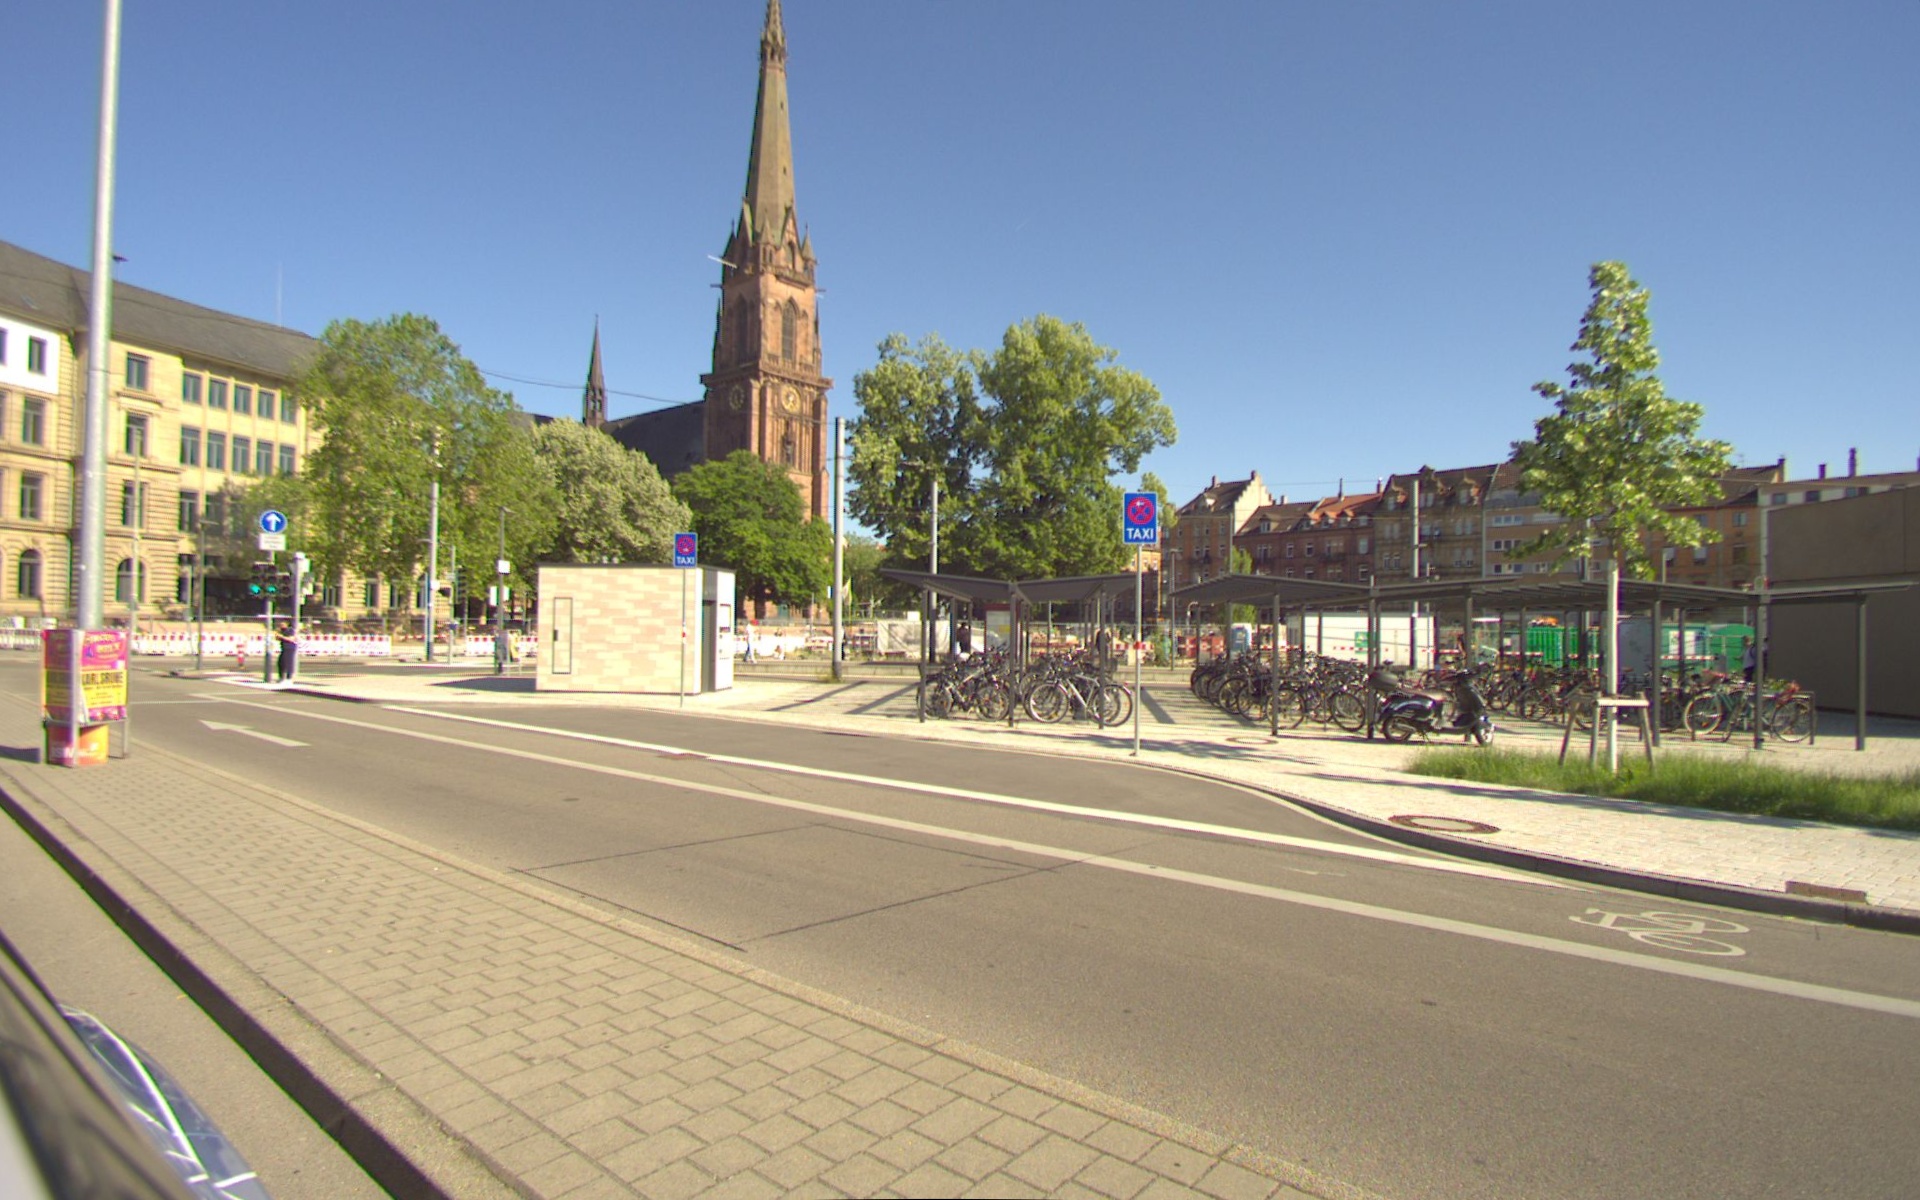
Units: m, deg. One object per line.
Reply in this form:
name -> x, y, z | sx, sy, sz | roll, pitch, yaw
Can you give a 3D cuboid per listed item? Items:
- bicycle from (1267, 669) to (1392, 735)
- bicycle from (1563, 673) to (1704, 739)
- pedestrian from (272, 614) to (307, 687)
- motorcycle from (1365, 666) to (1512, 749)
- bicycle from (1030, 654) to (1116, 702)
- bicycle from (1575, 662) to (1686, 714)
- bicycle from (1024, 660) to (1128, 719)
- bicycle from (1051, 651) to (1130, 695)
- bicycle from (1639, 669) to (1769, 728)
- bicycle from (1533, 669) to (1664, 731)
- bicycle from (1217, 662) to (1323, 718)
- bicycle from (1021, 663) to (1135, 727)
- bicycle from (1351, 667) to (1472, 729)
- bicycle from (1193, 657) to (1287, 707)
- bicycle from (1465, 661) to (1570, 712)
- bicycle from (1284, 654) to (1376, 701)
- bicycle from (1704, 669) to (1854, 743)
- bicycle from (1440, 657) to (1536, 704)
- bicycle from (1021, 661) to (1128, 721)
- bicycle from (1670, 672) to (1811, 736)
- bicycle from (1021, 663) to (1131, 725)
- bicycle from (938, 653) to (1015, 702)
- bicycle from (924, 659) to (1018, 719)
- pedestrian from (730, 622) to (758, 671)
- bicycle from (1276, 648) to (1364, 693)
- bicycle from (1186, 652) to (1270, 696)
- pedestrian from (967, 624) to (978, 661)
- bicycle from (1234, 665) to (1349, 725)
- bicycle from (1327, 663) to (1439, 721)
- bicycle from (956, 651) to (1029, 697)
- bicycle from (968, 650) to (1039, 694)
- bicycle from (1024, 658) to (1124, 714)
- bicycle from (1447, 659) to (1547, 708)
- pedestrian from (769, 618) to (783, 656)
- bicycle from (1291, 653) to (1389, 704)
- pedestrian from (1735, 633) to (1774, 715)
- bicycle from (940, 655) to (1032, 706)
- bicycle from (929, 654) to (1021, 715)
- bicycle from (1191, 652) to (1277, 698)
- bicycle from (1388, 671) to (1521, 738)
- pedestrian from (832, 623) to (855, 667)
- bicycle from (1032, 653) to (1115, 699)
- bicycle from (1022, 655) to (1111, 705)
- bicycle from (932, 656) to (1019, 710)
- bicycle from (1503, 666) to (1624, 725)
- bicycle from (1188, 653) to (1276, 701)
bicycle -> 6.125, 1.682, 16.837 | 1.882, 1.016, 0.456 | 0, -2, 8
bicycle -> 10.976, 1.718, 16.534 | 1.882, 1.016, 0.456 | 0, -2, 8
pedestrian -> -17.601, 1.322, 26.556 | 0.683, 1.868, 0.680 | 2, -2, -37
motorcycle -> 7.165, 1.602, 15.222 | 1.924, 1.160, 0.516 | 0, -2, 6
bicycle -> 2.515, 1.726, 22.531 | 1.882, 1.016, 0.456 | 0, -2, 8
bicycle -> 13.877, 1.819, 20.968 | 1.882, 1.016, 0.456 | 0, -2, 8
bicycle -> 2.140, 1.645, 18.740 | 1.882, 1.016, 0.456 | 0, -2, 8
bicycle -> 3.166, 1.776, 24.596 | 1.882, 1.016, 0.456 | 0, -2, 8
bicycle -> 13.473, 1.777, 18.361 | 1.882, 1.016, 0.456 | 0, -2, 8
bicycle -> 11.104, 1.733, 17.638 | 1.882, 1.016, 0.456 | 0, -2, 8
bicycle -> 5.901, 1.708, 19.320 | 1.882, 1.016, 0.456 | 0, -2, 8
bicycle -> 1.993, 1.602, 17.111 | 1.882, 1.016, 0.456 | 0, -2, 8
bicycle -> 7.898, 1.709, 17.760 | 1.882, 1.016, 0.456 | 0, -2, 8
bicycle -> 5.969, 1.747, 21.606 | 1.882, 1.016, 0.456 | 0, -2, 8
bicycle -> 11.718, 1.815, 21.310 | 1.882, 1.016, 0.456 | 0, -2, 8
bicycle -> 8.320, 1.735, 22.815 | 1.882, 1.016, 0.456 | 0, -2, 8
bicycle -> 13.085, 1.685, 16.203 | 1.882, 1.106, 0.456 | 0, -2, 8
bicycle -> 12.083, 1.836, 23.191 | 1.882, 1.016, 0.456 | 0, -2, 8
bicycle -> 2.058, 1.633, 18.258 | 1.882, 1.016, 0.456 | 0, -2, 8
bicycle -> 13.132, 1.743, 17.062 | 1.882, 1.016, 0.456 | 0, -2, 8
bicycle -> 2.023, 1.624, 17.671 | 1.882, 1.016, 0.456 | 0, -2, 8
bicycle -> 0.375, 1.690, 22.221 | 1.652, 1.016, 0.456 | 0, -2, 8
bicycle -> 0.205, 1.585, 18.188 | 1.652, 1.016, 0.456 | 0, -2, 8
pedestrian -> -8.074, 1.713, 37.815 | 0.792, 1.793, 0.977 | 0, -2, 3
bicycle -> 8.490, 1.652, 23.907 | 1.882, 1.016, 0.456 | 0, -2, 8
bicycle -> 6.397, 1.762, 24.222 | 1.882, 1.016, 0.456 | 0, -2, 8
pedestrian -> 0.590, 1.994, 47.613 | 0.399, 1.734, 0.419 | 1, -2, -11
bicycle -> 5.903, 1.683, 18.089 | 1.882, 1.016, 0.456 | 0, -2, 8
bicycle -> 7.922, 1.712, 18.993 | 1.882, 1.016, 0.456 | 0, -2, 8
bicycle -> 0.750, 1.709, 23.479 | 1.652, 1.016, 0.456 | 0, -2, 8
bicycle -> 1.046, 1.715, 24.223 | 1.652, 1.016, 0.456 | 0, -2, 8
bicycle -> 2.200, 1.659, 19.582 | 1.882, 1.016, 0.456 | 0, -2, 8
bicycle -> 11.788, 1.825, 22.240 | 1.882, 1.016, 0.456 | 0, -2, 8
pedestrian -> -10.498, 2.118, 57.790 | 0.545, 2.171, 0.568 | 0, -2, 15
bicycle -> 8.061, 1.661, 21.516 | 1.882, 1.016, 0.456 | 0, -2, 8
pedestrian -> 20.172, 1.849, 25.700 | 0.718, 2.029, 0.678 | -1, -2, 41
bicycle -> 0.547, 1.675, 21.223 | 1.882, 1.016, 0.456 | 0, -2, 8
bicycle -> 0.284, 1.559, 18.774 | 1.652, 1.069, 0.456 | 0, -2, 8
bicycle -> 6.370, 1.732, 23.564 | 1.882, 1.016, 0.456 | 0, -2, 8
bicycle -> 8.032, 1.692, 16.490 | 1.882, 1.016, 0.456 | 0, -2, 8
pedestrian -> -4.884, 1.867, 42.346 | 0.792, 1.793, 0.977 | 0, -2, 3
bicycle -> 2.610, 1.748, 23.301 | 1.882, 1.016, 0.456 | 0, -2, 8
bicycle -> 2.301, 1.722, 21.918 | 1.882, 1.016, 0.456 | 0, -2, 8
bicycle -> 0.309, 1.625, 19.885 | 1.652, 1.016, 0.456 | 0, -2, 8
bicycle -> 11.168, 1.756, 18.754 | 1.882, 1.016, 0.456 | 0, -2, 8
bicycle -> 6.153, 1.738, 22.940 | 1.882, 1.016, 0.456 | 0, -2, 8
